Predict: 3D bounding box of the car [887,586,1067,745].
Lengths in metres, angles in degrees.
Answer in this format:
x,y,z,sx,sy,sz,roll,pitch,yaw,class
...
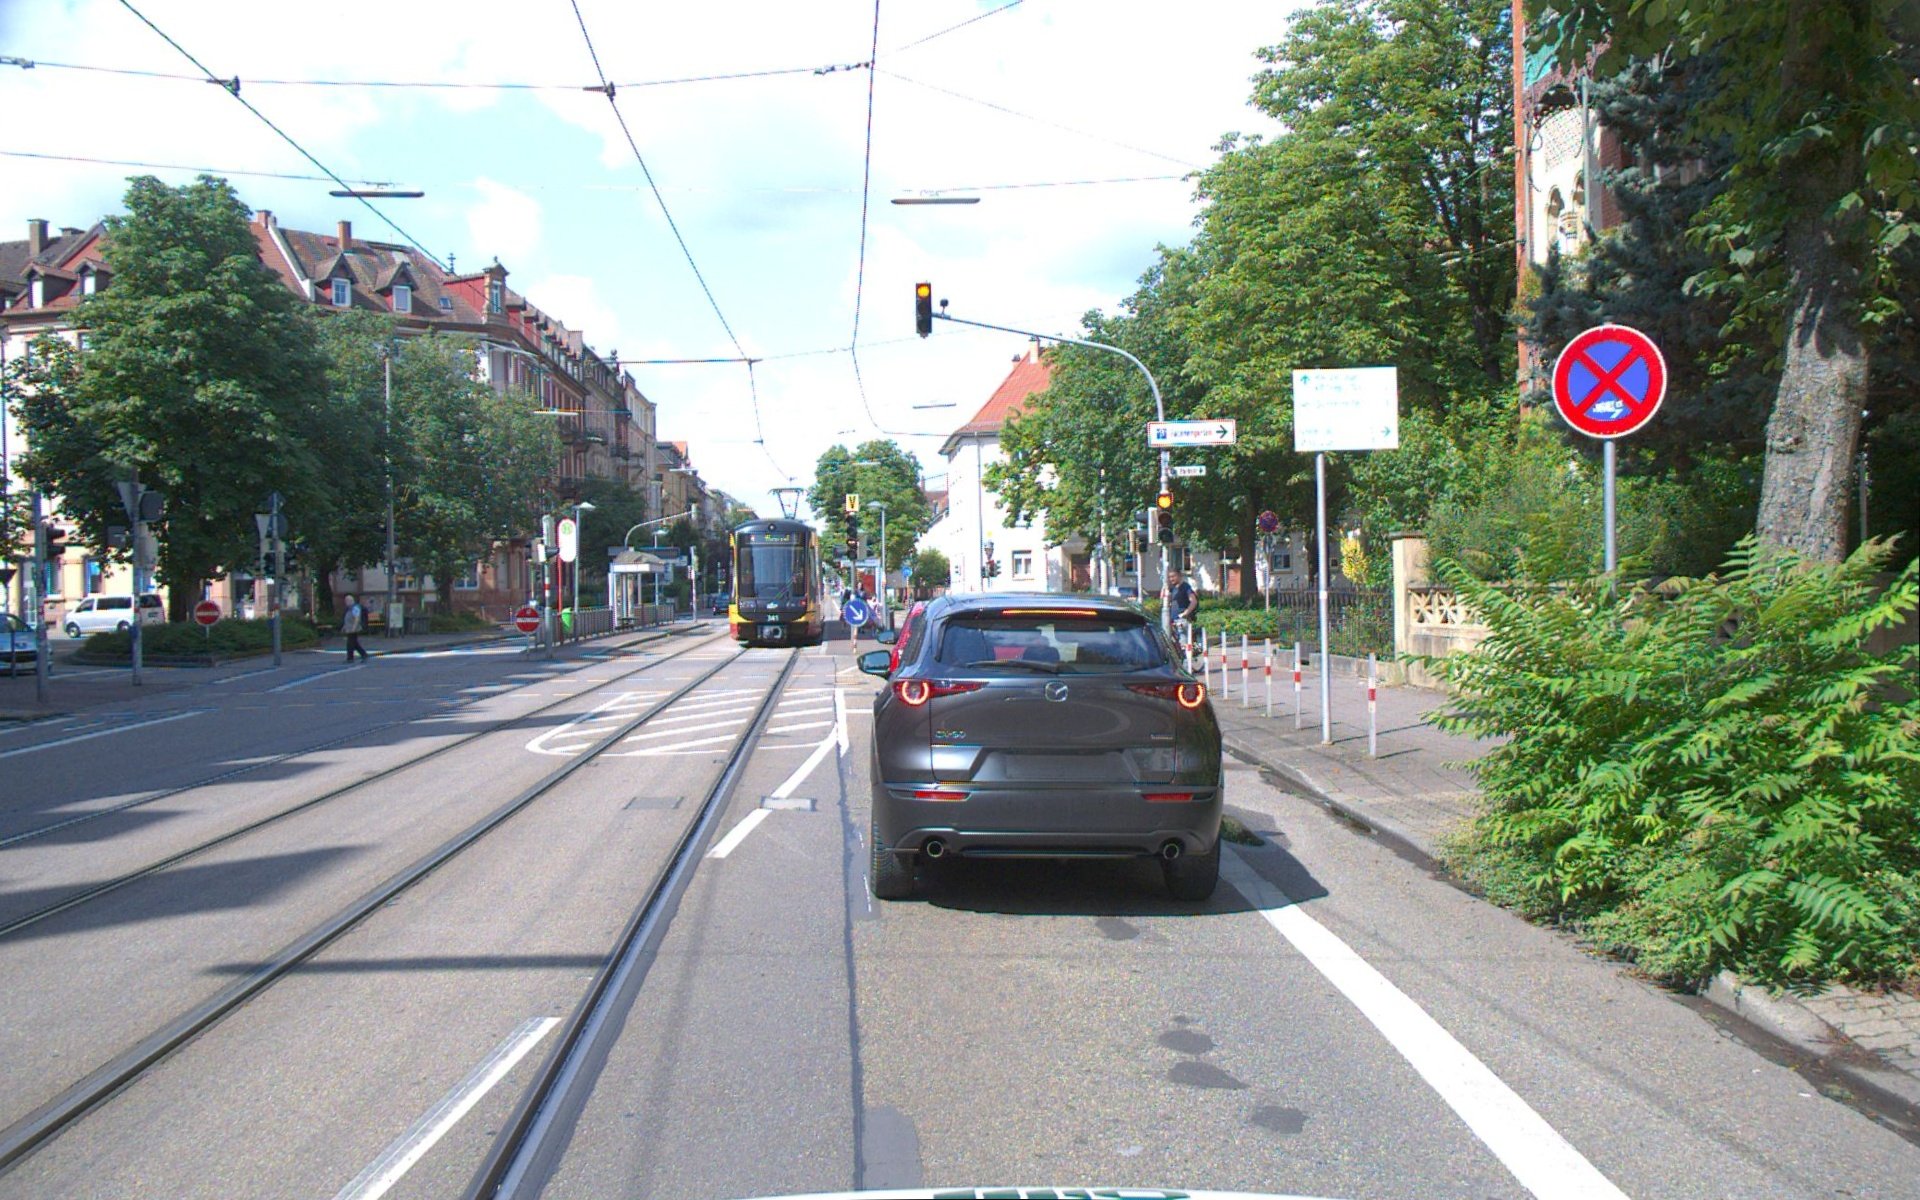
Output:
x,y,z,sx,sy,sz,roll,pitch,yaw,class
0.122,0.631,18.182,1.742,1.526,3.999,1,0,-1,car

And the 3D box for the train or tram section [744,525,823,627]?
x,y,z,sx,sy,sz,roll,pitch,yaw,class
-6.826,-1.006,65.642,2.699,3.551,14.395,-1,1,-5,train or tram section

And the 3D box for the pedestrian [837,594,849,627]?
x,y,z,sx,sy,sz,roll,pitch,yaw,class
-3.895,0.347,55.106,0.372,1.089,0.474,-1,0,-6,pedestrian

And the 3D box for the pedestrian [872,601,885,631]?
x,y,z,sx,sy,sz,roll,pitch,yaw,class
-2.738,0.540,55.466,0.372,1.001,0.474,-1,0,-6,pedestrian

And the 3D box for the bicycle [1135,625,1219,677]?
x,y,z,sx,sy,sz,roll,pitch,yaw,class
3.794,0.876,28.841,1.685,0.838,0.487,-1,0,-43,bicycle

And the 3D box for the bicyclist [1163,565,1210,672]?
x,y,z,sx,sy,sz,roll,pitch,yaw,class
3.918,0.311,28.616,0.597,1.824,0.656,-1,0,-11,bicyclist

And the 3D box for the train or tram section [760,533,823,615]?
x,y,z,sx,sy,sz,roll,pitch,yaw,class
-8.016,-1.321,79.984,2.699,3.551,14.395,-1,1,-5,train or tram section

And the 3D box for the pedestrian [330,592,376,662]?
x,y,z,sx,sy,sz,roll,pitch,yaw,class
-15.318,0.671,41.733,0.804,1.735,0.719,-1,0,18,pedestrian

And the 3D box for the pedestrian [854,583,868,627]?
x,y,z,sx,sy,sz,roll,pitch,yaw,class
-3.324,0.157,55.385,0.441,1.459,0.474,-1,0,-6,pedestrian

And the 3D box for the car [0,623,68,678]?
x,y,z,sx,sy,sz,roll,pitch,yaw,class
-22.790,1.168,38.747,3.916,1.203,1.674,-1,0,33,car

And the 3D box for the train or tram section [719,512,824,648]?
x,y,z,sx,sy,sz,roll,pitch,yaw,class
-5.624,-0.697,51.294,2.699,3.551,14.395,-1,1,-5,train or tram section

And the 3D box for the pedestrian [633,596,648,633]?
x,y,z,sx,sy,sz,roll,pitch,yaw,class
-12.413,0.555,64.275,0.420,1.423,0.397,-1,0,30,pedestrian

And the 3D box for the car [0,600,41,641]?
x,y,z,sx,sy,sz,roll,pitch,yaw,class
-39.395,0.846,66.316,3.906,1.624,2.000,-1,0,-1,car

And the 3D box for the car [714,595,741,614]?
x,y,z,sx,sy,sz,roll,pitch,yaw,class
-16.365,0.306,116.425,1.583,1.333,3.624,-1,0,-4,car

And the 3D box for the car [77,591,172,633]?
x,y,z,sx,sy,sz,roll,pitch,yaw,class
-39.679,0.575,78.560,3.906,1.937,1.999,-1,0,23,car

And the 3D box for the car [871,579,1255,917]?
x,y,z,sx,sy,sz,roll,pitch,yaw,class
0.431,0.668,9.581,1.742,1.526,3.999,1,0,-1,car
